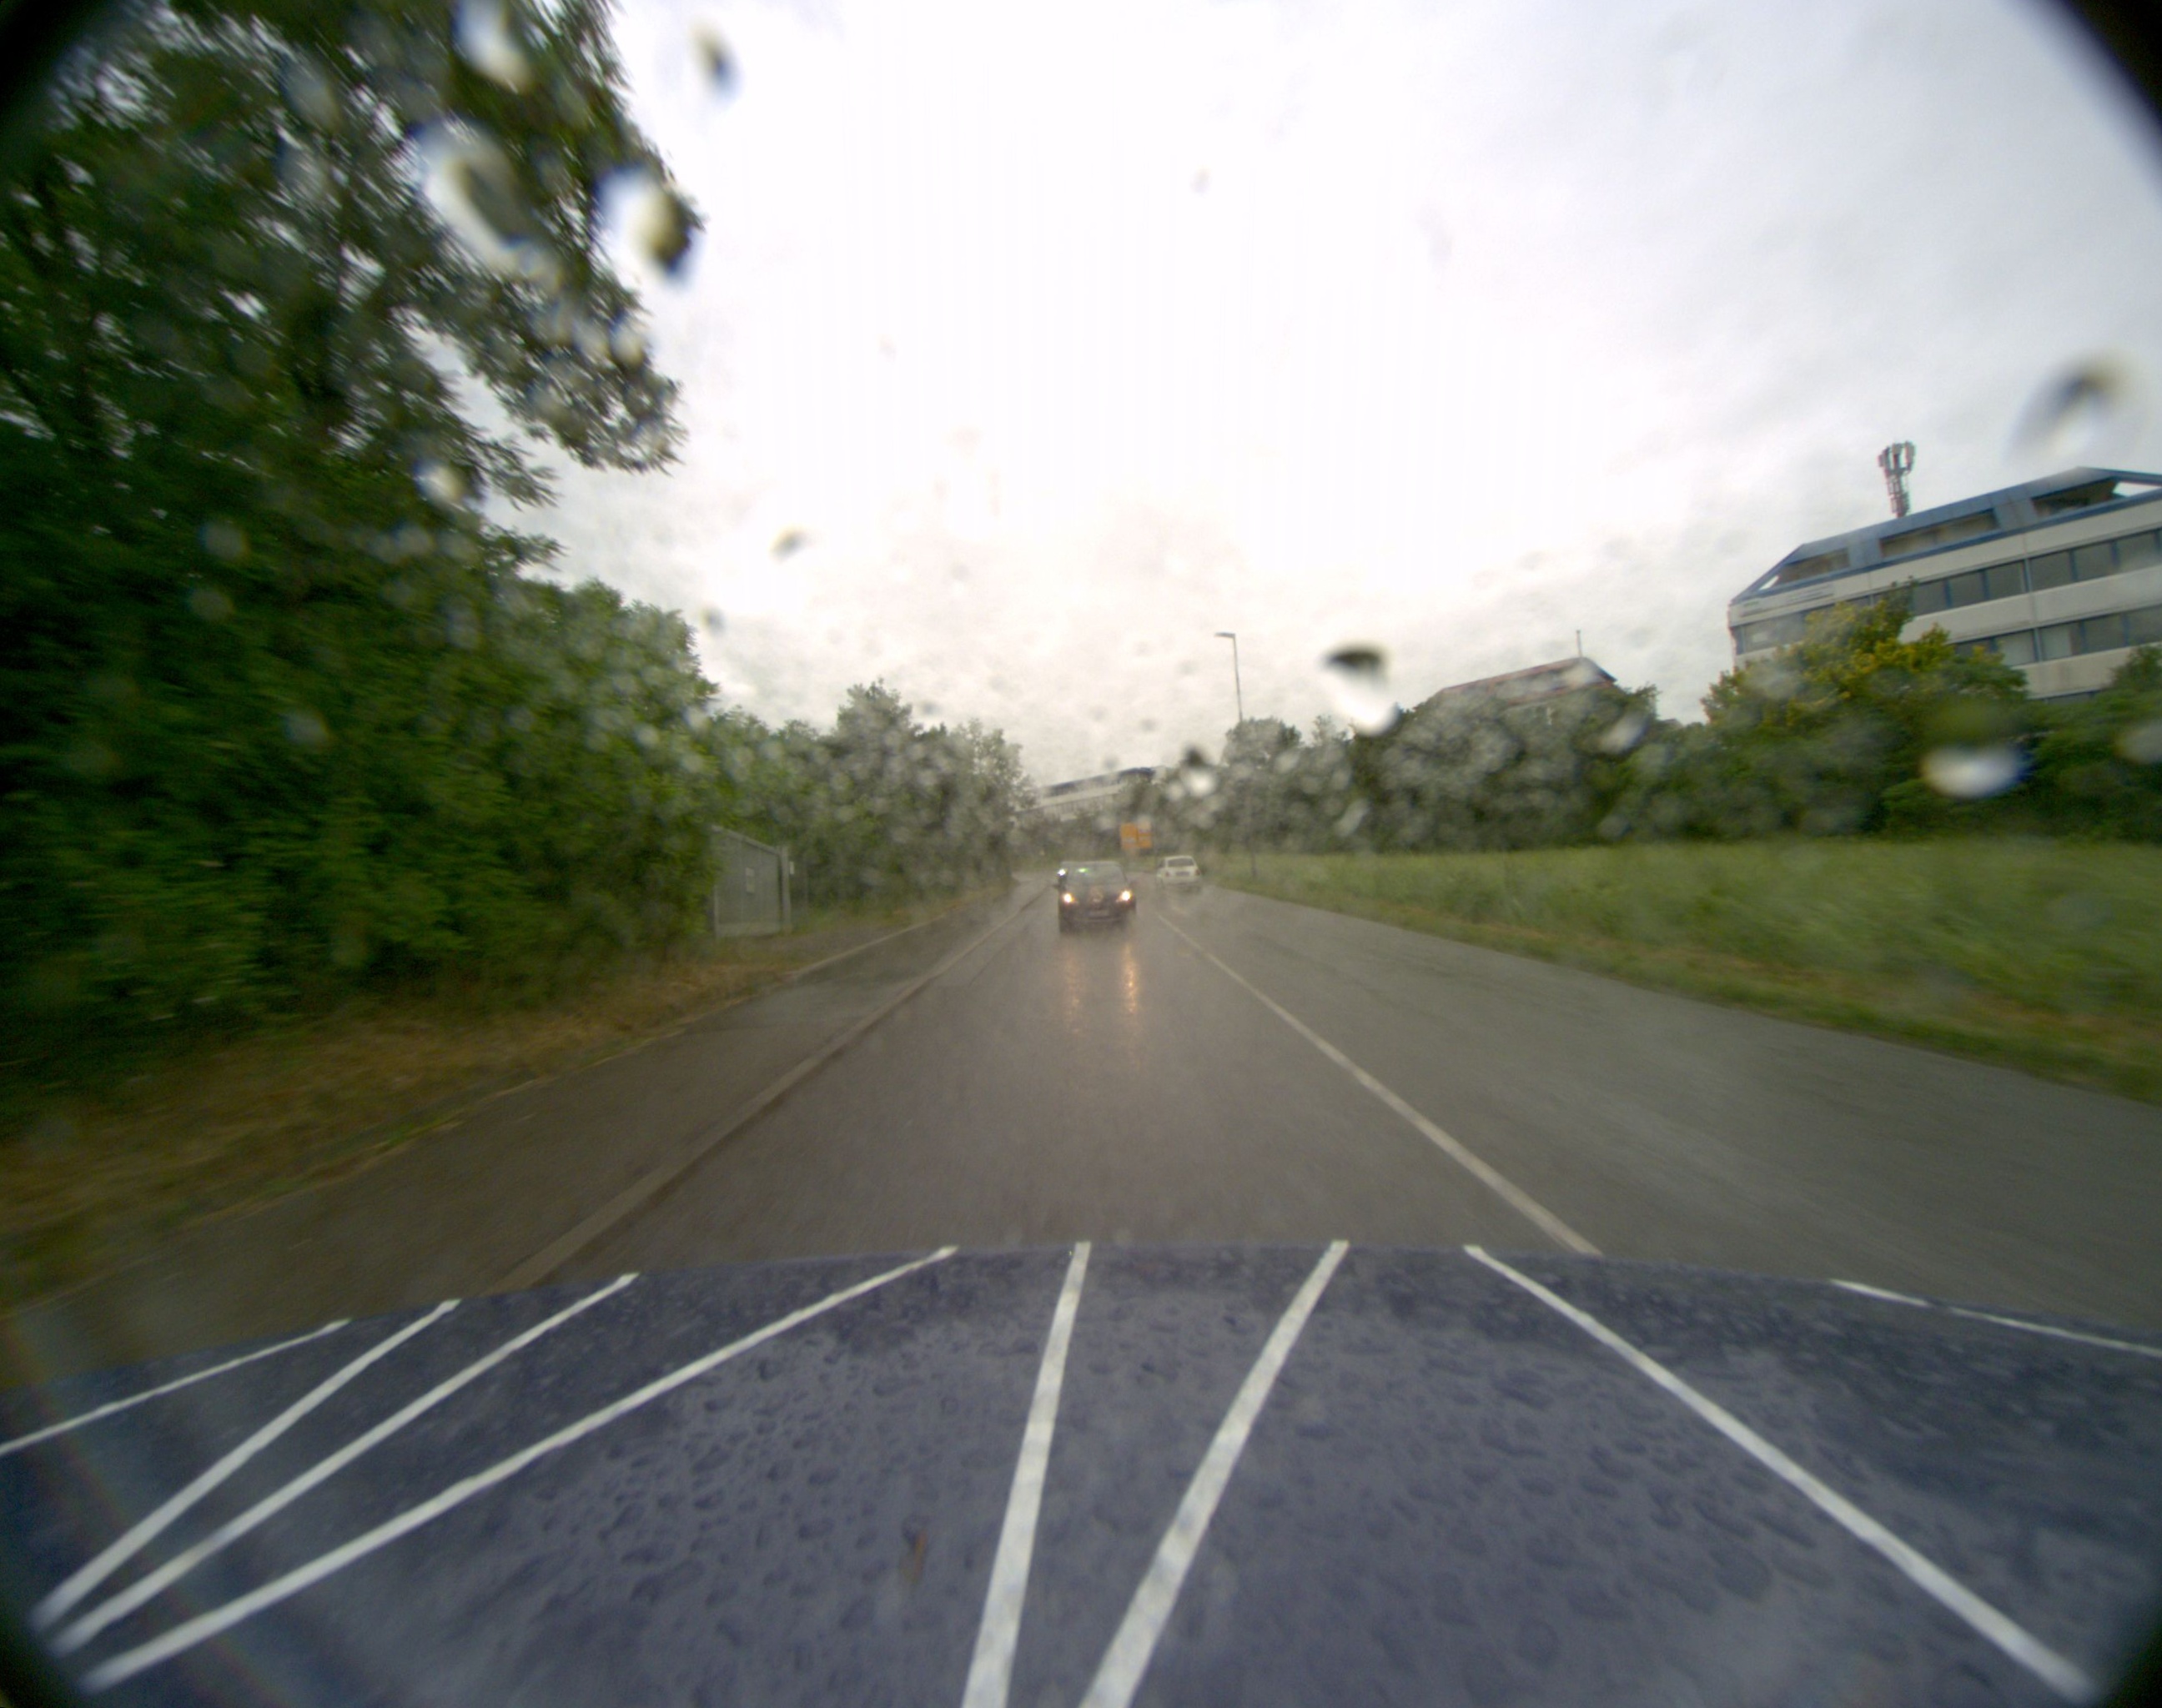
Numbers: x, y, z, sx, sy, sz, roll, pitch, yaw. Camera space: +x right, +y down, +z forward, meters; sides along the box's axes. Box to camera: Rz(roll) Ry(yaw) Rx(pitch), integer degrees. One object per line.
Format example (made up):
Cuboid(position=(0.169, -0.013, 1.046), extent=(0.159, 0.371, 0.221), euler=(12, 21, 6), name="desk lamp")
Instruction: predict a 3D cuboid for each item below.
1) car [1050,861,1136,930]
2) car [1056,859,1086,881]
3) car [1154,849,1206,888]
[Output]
Cuboid(position=(0.223, 0.959, 19.386), extent=(1.874, 1.432, 4.377), euler=(-3, 0, -1), name="car")
Cuboid(position=(-0.737, 1.097, 53.869), extent=(1.874, 1.432, 4.376), euler=(-2, 0, -3), name="car")
Cuboid(position=(4.070, 0.560, 31.642), extent=(1.643, 1.480, 3.453), euler=(-2, 0, -1), name="car")
